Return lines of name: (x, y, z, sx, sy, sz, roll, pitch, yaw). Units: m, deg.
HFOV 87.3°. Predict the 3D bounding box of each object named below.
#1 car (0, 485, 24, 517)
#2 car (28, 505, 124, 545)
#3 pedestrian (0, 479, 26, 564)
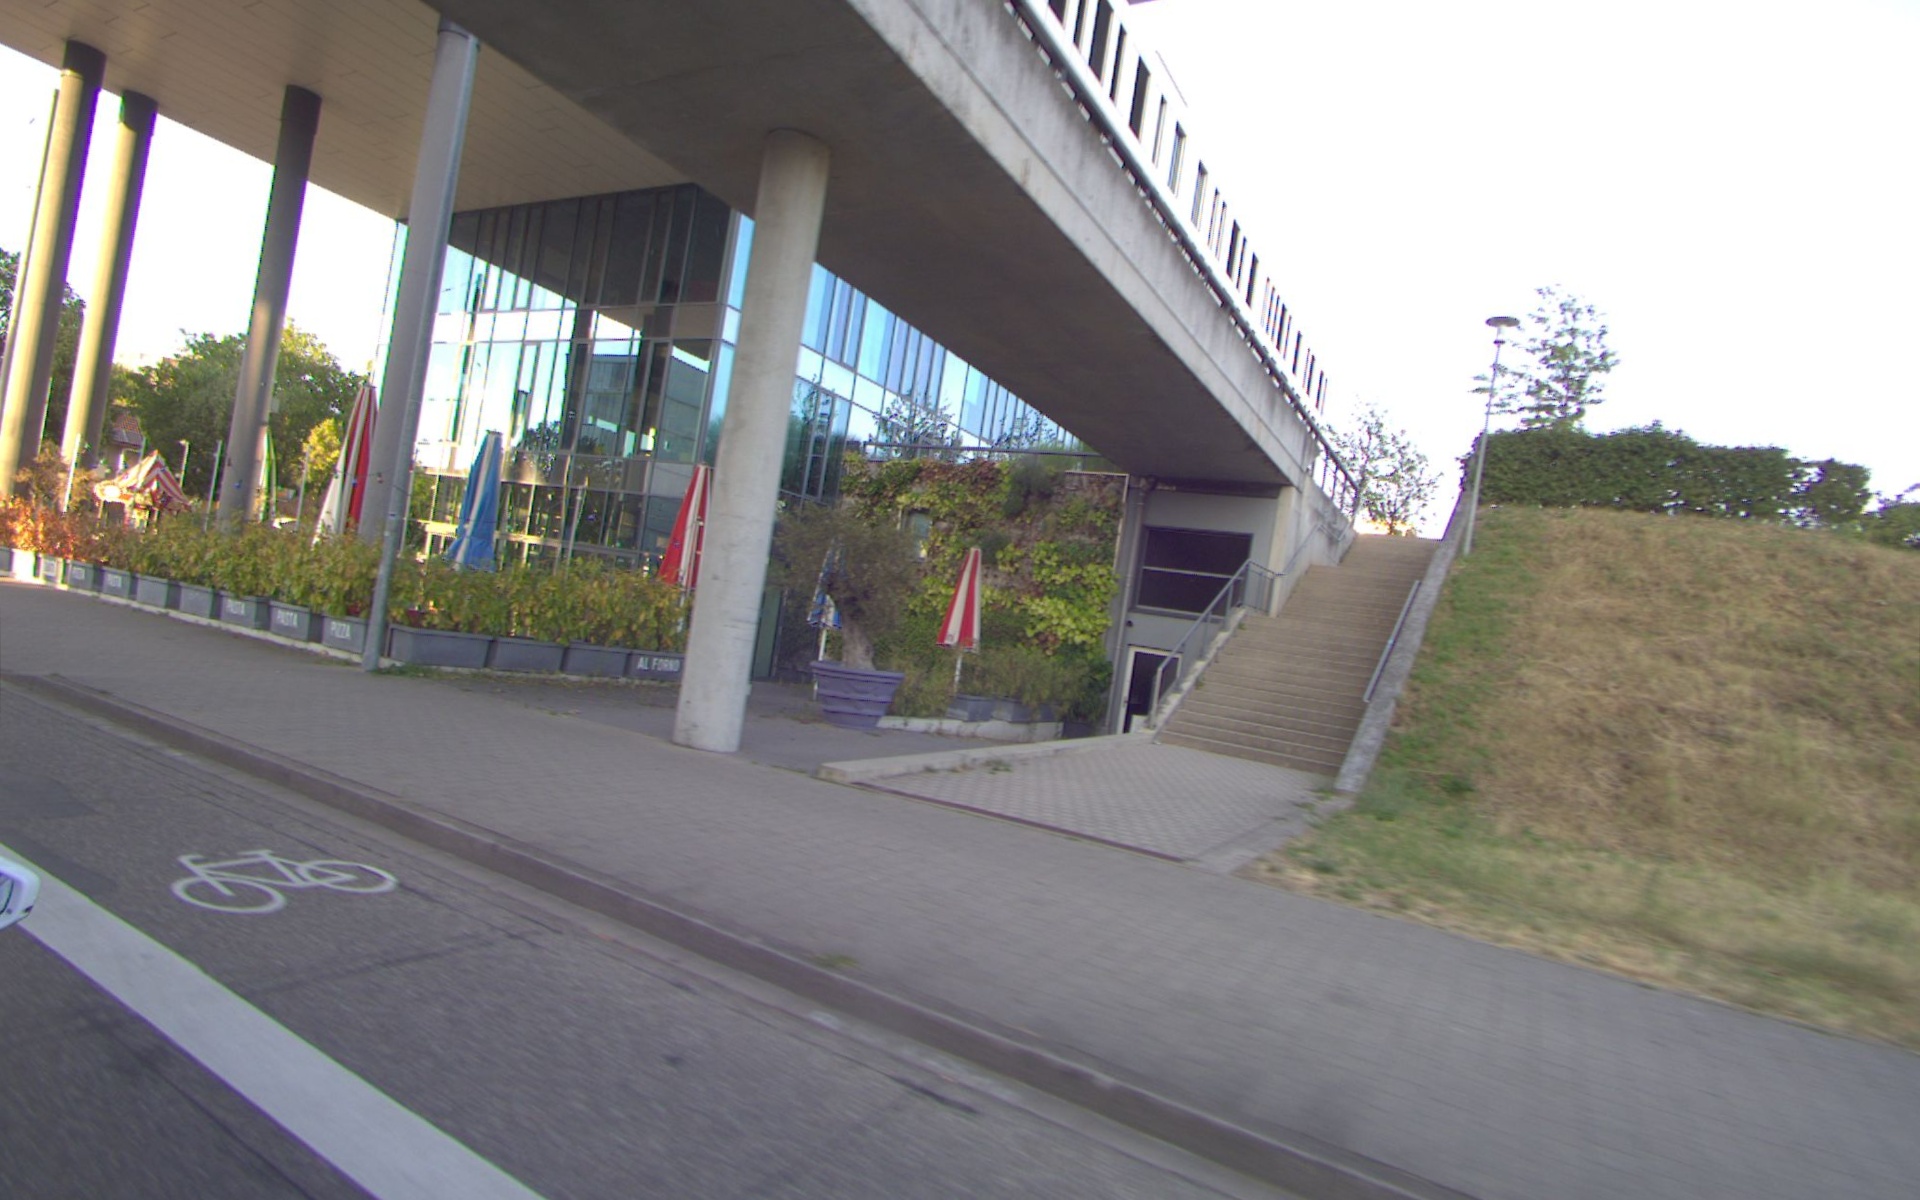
car: (-63.988, -6.761, 65.137, 1.913, 1.837, 4.476, 9, -2, 33)
car: (-60.922, -5.153, 69.432, 1.913, 1.837, 4.476, 9, -2, 33)
pedestrian: (-21.957, -1.845, 22.507, 0.878, 1.855, 1.058, 9, -1, 18)
